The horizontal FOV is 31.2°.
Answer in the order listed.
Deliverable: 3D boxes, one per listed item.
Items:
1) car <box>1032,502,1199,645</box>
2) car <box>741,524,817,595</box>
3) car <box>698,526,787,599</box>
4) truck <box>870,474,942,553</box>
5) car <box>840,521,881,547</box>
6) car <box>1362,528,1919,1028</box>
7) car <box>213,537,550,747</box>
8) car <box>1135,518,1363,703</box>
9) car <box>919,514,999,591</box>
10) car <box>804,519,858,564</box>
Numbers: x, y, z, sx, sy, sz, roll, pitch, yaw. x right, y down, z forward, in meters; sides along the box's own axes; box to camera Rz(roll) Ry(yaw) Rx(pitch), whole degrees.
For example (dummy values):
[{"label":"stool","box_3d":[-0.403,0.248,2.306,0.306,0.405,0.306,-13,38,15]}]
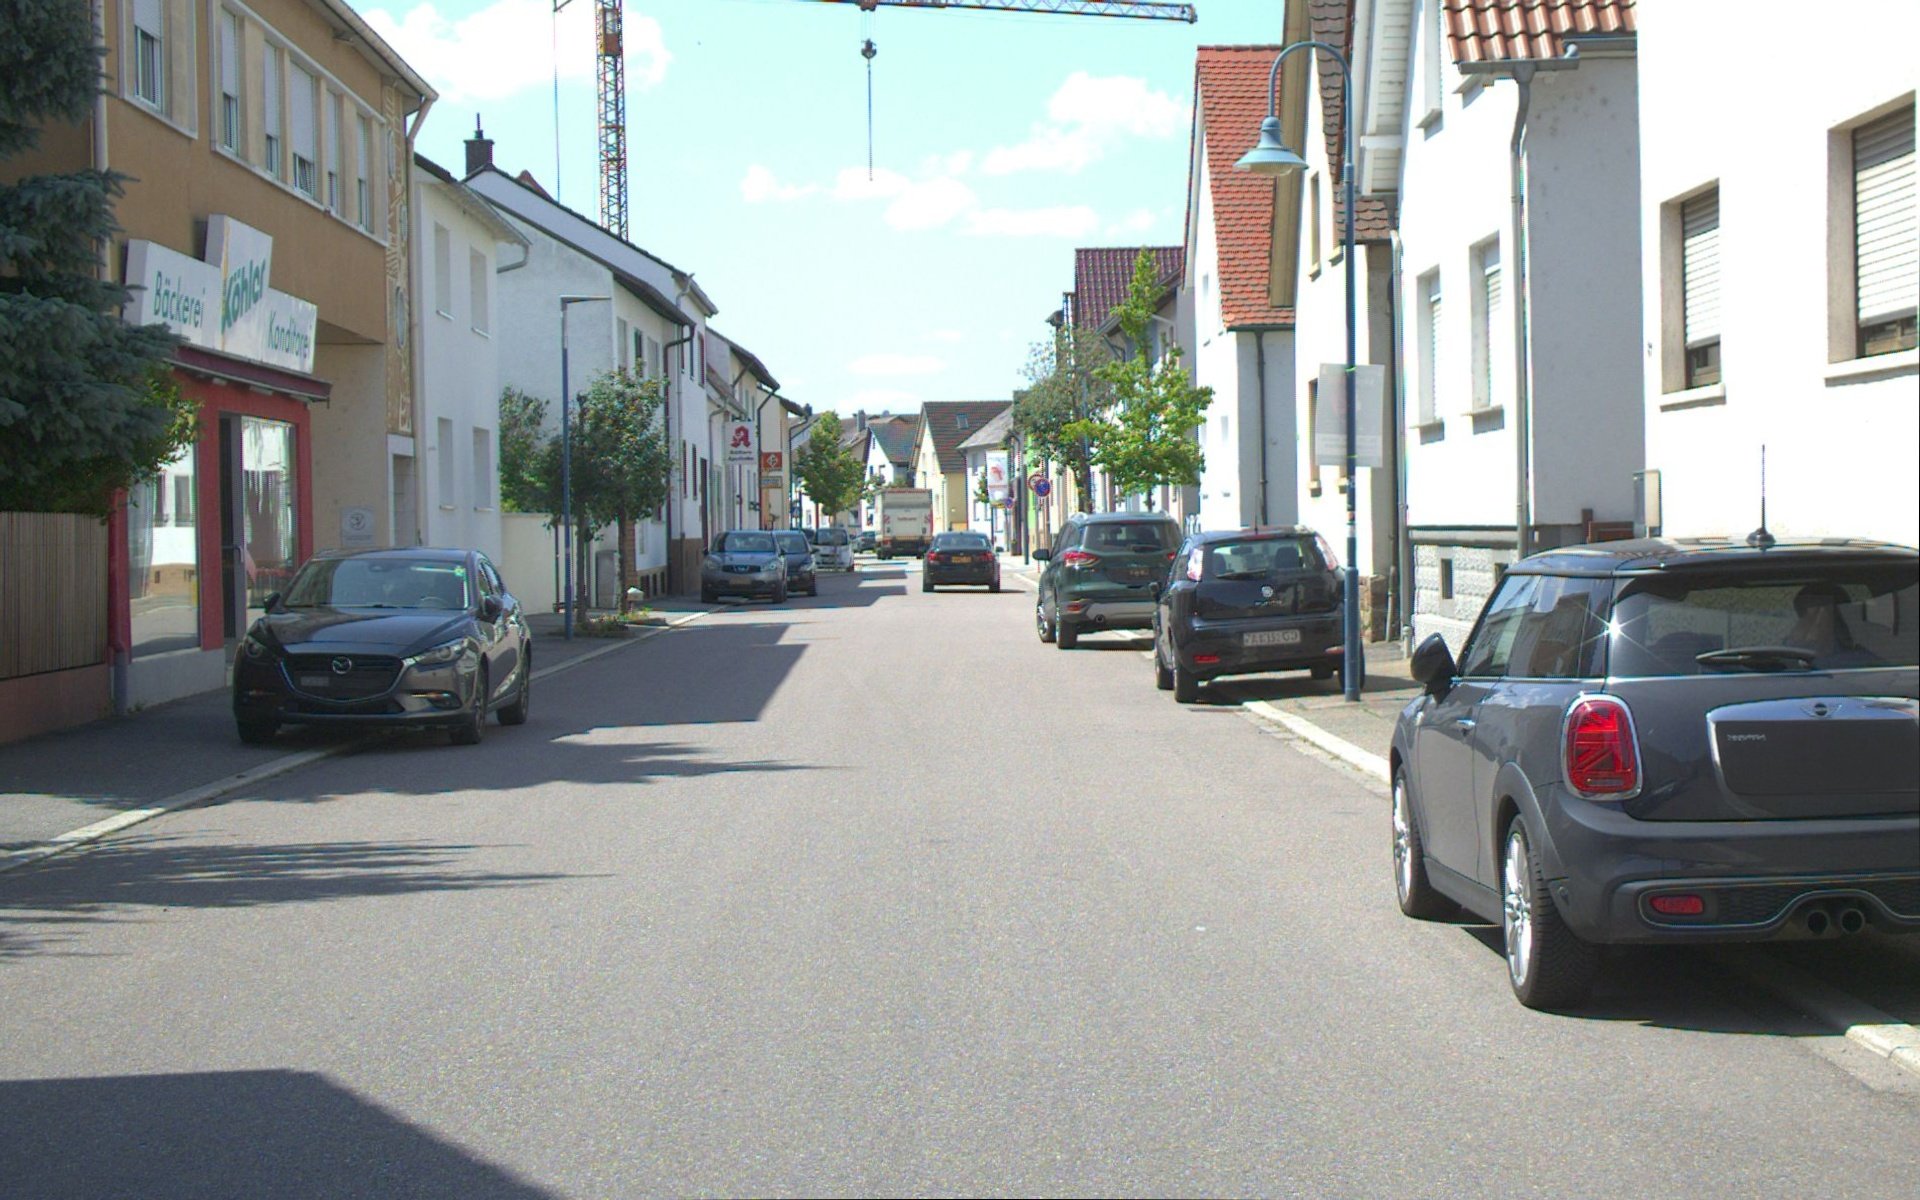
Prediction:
[{"label":"car","box_3d":[1.943,-0.373,44.095,1.728,1.711,4.276,-1,1,-3]},{"label":"car","box_3d":[-4.336,-0.994,82.678,1.653,1.603,4.061,-1,1,-1]},{"label":"car","box_3d":[-4.778,-0.855,76.001,1.758,1.519,4.289,-1,1,-1]},{"label":"truck","box_3d":[-2.911,-4.469,179.336,3.378,3.852,13.928,-2,1,-2]},{"label":"car","box_3d":[-6.906,-4.564,238.489,1.820,1.747,4.230,-2,1,-16]},{"label":"car","box_3d":[2.471,0.481,11.843,1.688,1.417,3.657,-1,1,-1]},{"label":"car","box_3d":[-4.390,0.258,26.731,1.768,1.455,4.436,-1,1,1]},{"label":"car","box_3d":[2.584,0.045,31.501,1.617,1.490,3.972,-4,1,-1]},{"label":"car","box_3d":[-0.044,-1.151,83.155,1.782,1.747,4.000,-2,1,-1]},{"label":"car","box_3d":[-4.569,-2.101,122.111,1.723,1.550,4.172,0,1,0]}]
